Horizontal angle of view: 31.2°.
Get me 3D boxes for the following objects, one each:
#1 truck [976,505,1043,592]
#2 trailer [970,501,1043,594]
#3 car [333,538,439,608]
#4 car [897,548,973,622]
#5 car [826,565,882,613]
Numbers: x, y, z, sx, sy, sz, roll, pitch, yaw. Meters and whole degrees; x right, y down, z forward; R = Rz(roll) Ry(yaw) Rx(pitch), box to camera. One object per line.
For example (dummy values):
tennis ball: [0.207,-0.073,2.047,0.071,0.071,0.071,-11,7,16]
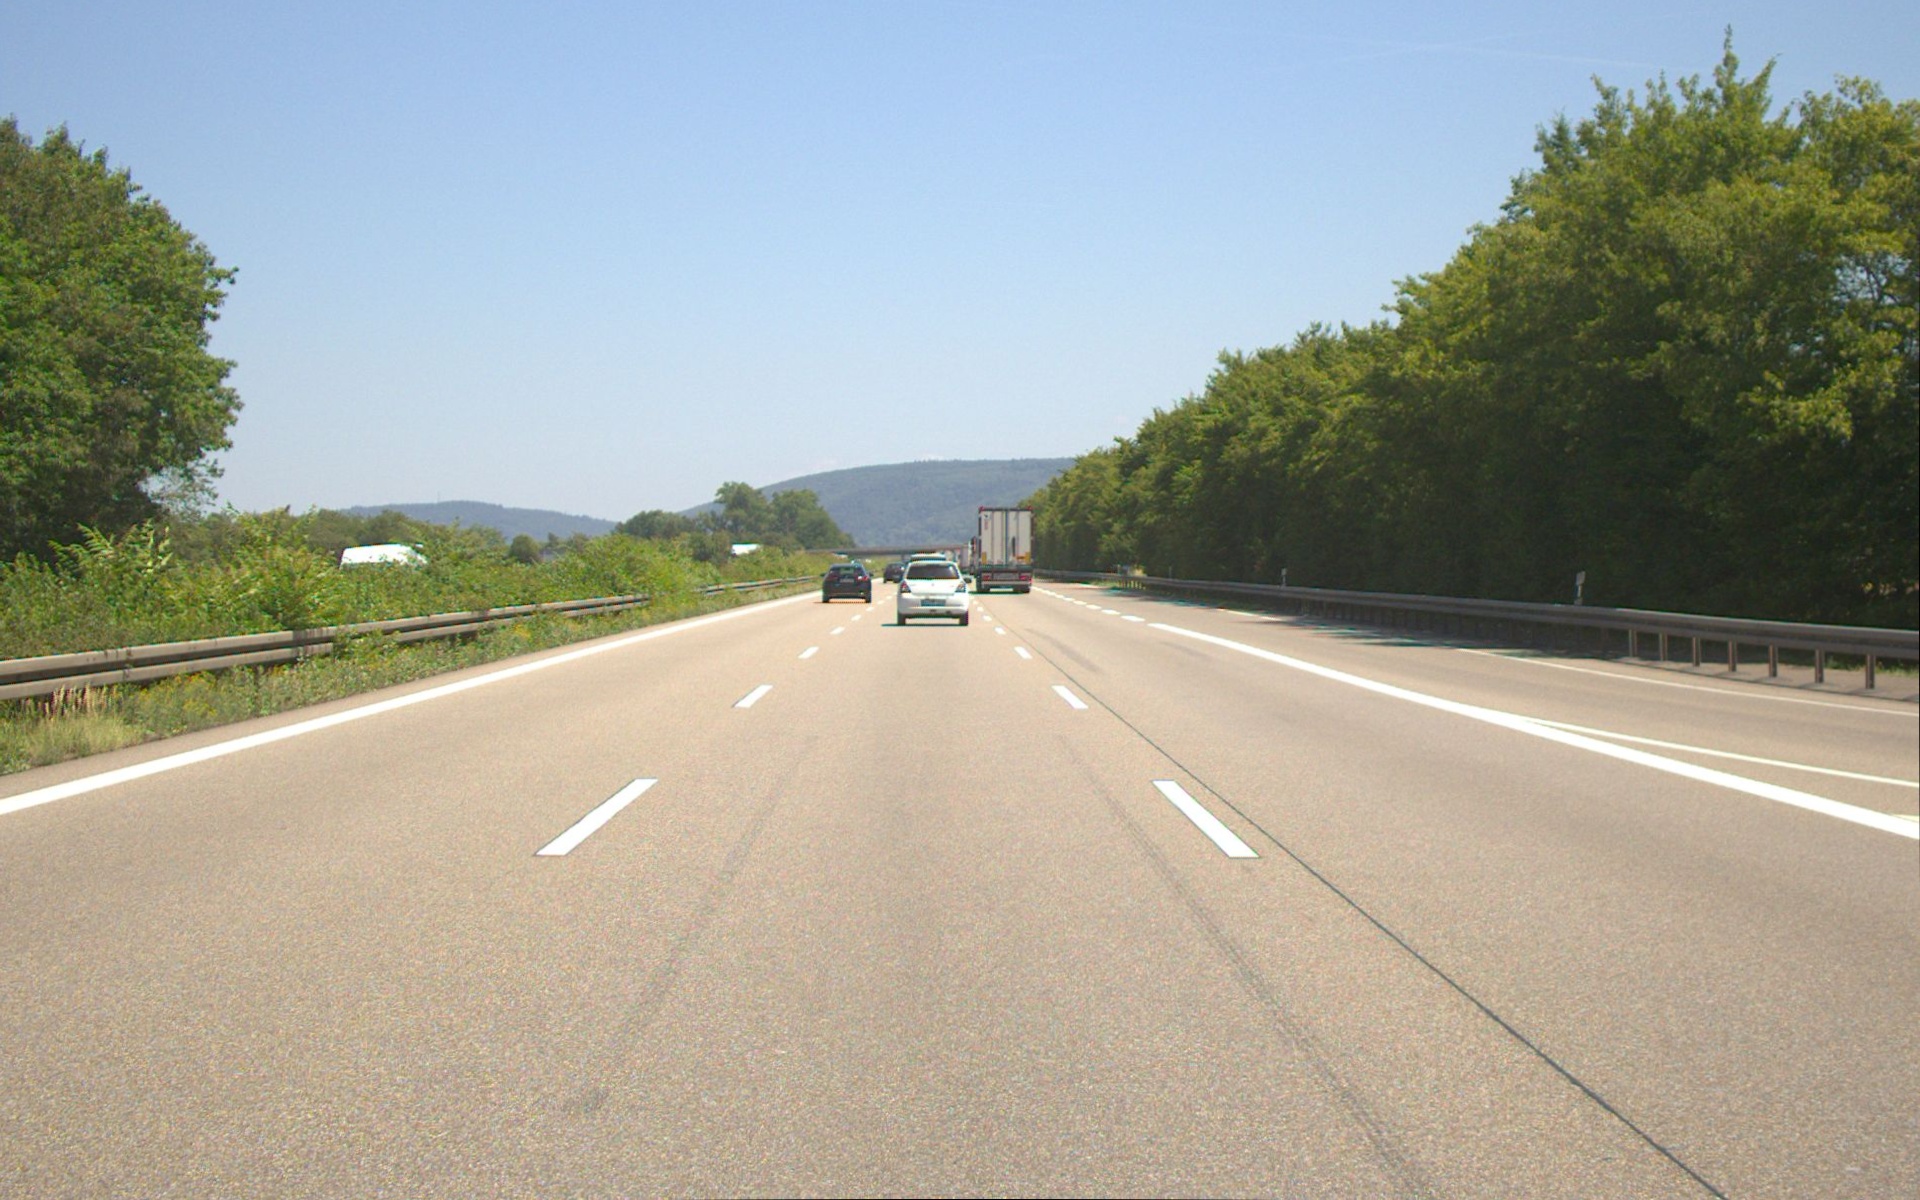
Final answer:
truck: [2.581,-2.622,175.772,3.218,4.330,6.590,1,1,2]
trailer: [2.337,-2.553,168.721,3.218,4.330,13.628,1,1,2]
car: [-17.390,-0.827,104.536,2.146,2.047,6.634,1,1,0]
car: [-0.614,-0.374,81.397,1.732,1.678,4.000,-1,1,-1]
car: [-3.875,-0.410,126.009,1.993,1.706,4.000,1,1,-1]
